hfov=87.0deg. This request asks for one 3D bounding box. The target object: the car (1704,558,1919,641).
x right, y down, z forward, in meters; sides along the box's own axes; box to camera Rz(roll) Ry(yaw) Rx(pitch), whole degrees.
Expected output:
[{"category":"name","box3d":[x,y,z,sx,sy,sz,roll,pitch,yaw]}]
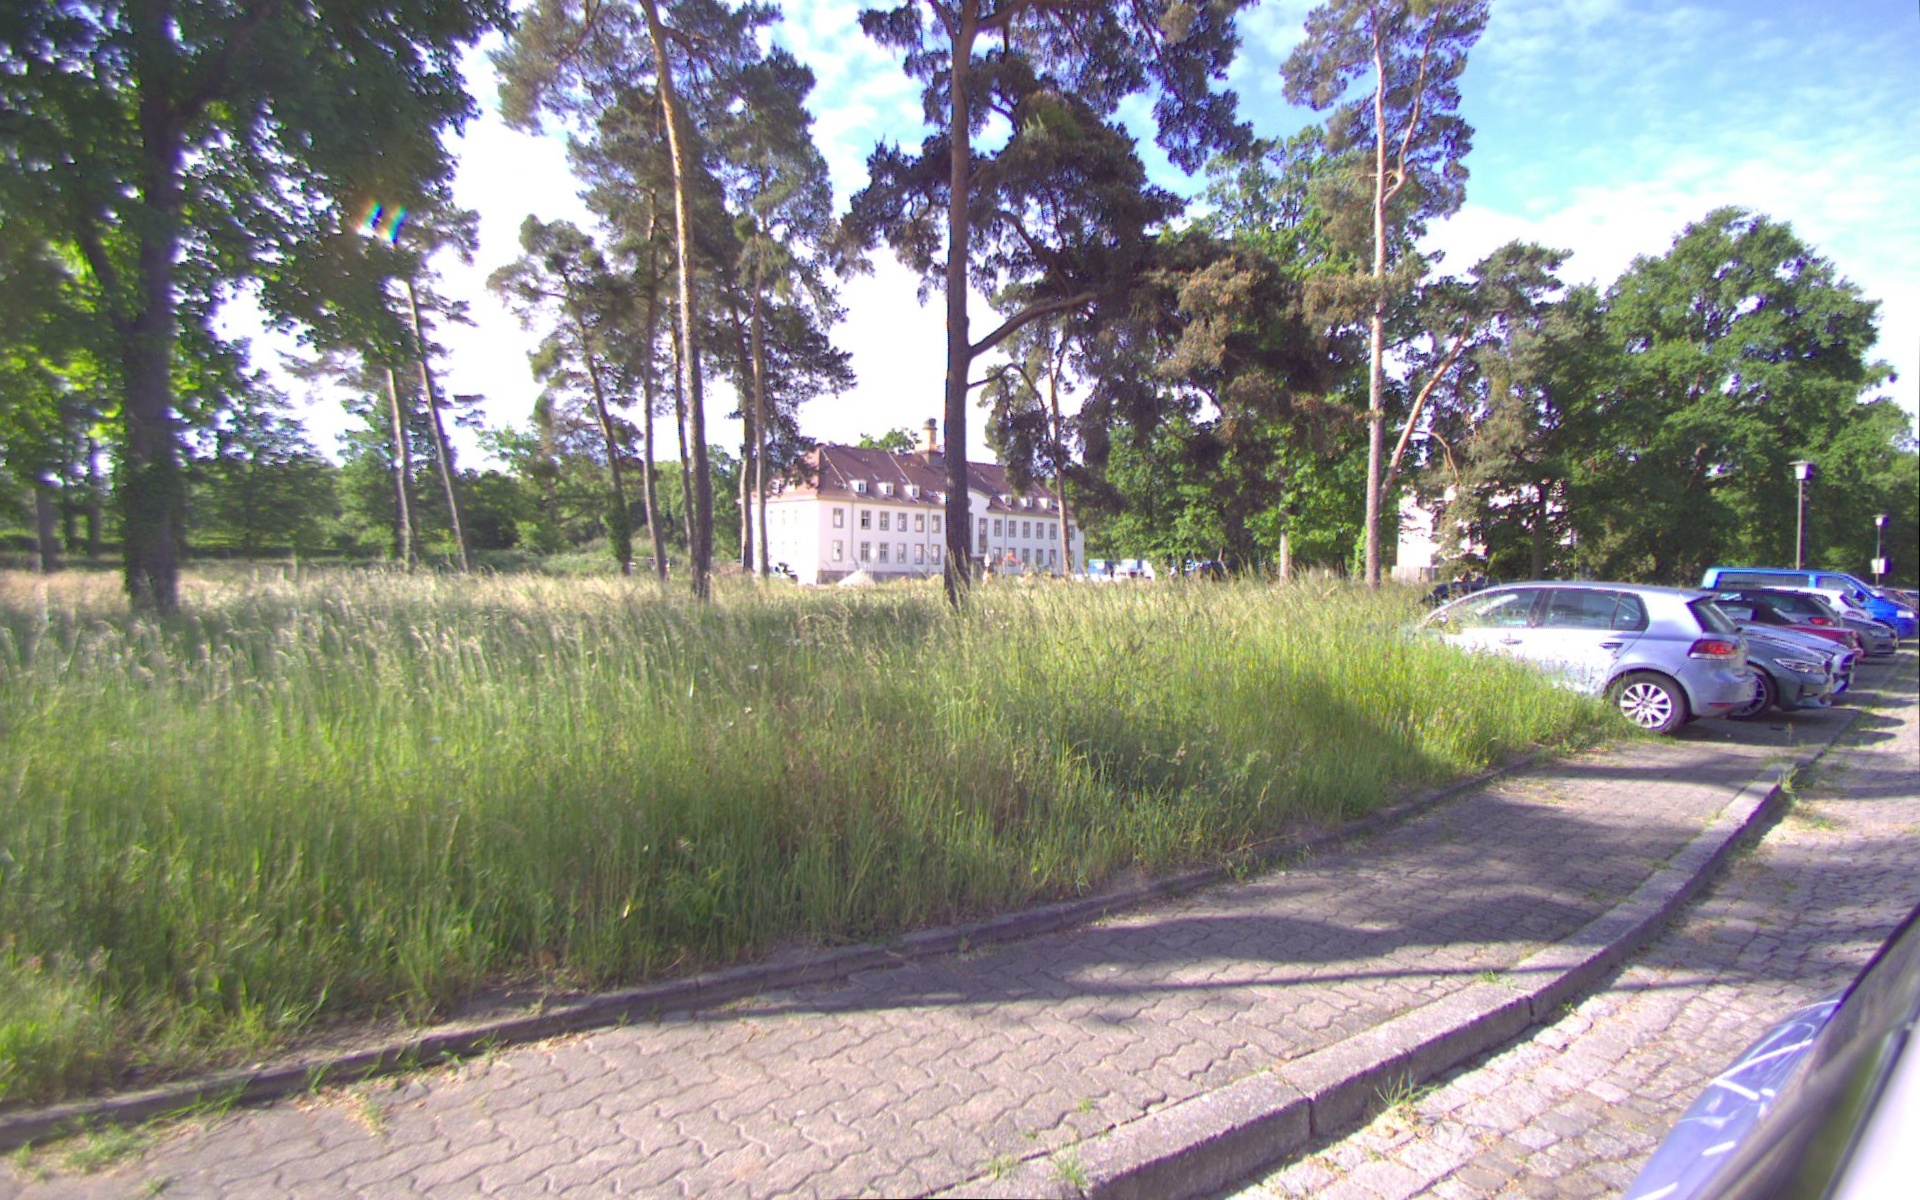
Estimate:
[{"category":"car","box3d":[23.219,-0.078,27.309,1.966,2.038,4.723,-1,2,-42]}]

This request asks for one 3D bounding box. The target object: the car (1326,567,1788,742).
[{"category":"car","box3d":[6.383,0.427,11.152,1.840,1.478,4.020,-1,3,-44]}]

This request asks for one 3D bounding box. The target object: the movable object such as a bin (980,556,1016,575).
[{"category":"movable object such as a bin","box3d":[4.889,-4.445,129.407,1.993,2.351,4.910,2,2,42]}]

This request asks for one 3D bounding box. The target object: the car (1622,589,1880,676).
[{"category":"car","box3d":[13.646,0.489,17.580,1.396,1.271,3.351,-1,3,-44]}]

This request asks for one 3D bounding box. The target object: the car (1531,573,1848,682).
[{"category":"car","box3d":[11.686,0.345,16.397,1.634,1.410,3.912,-1,4,-44]}]

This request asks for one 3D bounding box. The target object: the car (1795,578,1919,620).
[{"category":"car","box3d":[36.506,-0.086,40.888,1.726,1.537,3.995,-1,2,-40]}]

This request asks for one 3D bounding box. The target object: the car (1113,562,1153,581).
[{"category":"car","box3d":[19.270,-3.126,112.681,4.692,2.038,1.996,-1,2,-43]}]

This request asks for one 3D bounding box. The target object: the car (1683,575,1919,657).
[{"category":"car","box3d":[17.687,0.266,21.362,1.478,1.509,3.628,0,2,-33]}]

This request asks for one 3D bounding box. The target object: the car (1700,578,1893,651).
[{"category":"car","box3d":[19.440,0.283,23.598,1.424,1.509,3.263,-1,2,-41]}]

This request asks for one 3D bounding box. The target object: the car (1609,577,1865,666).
[{"category":"car","box3d":[15.103,0.334,19.804,1.524,1.509,3.773,-1,3,-44]}]

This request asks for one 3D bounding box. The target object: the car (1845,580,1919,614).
[{"category":"car","box3d":[47.224,-0.175,50.796,1.725,1.635,3.995,-2,0,-39]}]

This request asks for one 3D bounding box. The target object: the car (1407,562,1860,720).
[{"category":"car","box3d":[8.305,0.356,12.788,4.496,1.535,1.798,4,4,44]}]

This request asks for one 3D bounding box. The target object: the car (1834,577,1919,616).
[{"category":"car","box3d":[43.914,-0.188,47.628,1.726,1.763,3.994,-1,1,-40]}]

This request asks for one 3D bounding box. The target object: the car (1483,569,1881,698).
[{"category":"car","box3d":[10.282,0.352,14.678,1.796,1.419,4.416,-1,4,-44]}]

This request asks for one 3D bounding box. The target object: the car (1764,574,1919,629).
[{"category":"car","box3d":[29.402,0.002,33.564,1.726,1.660,3.995,-1,2,-40]}]
